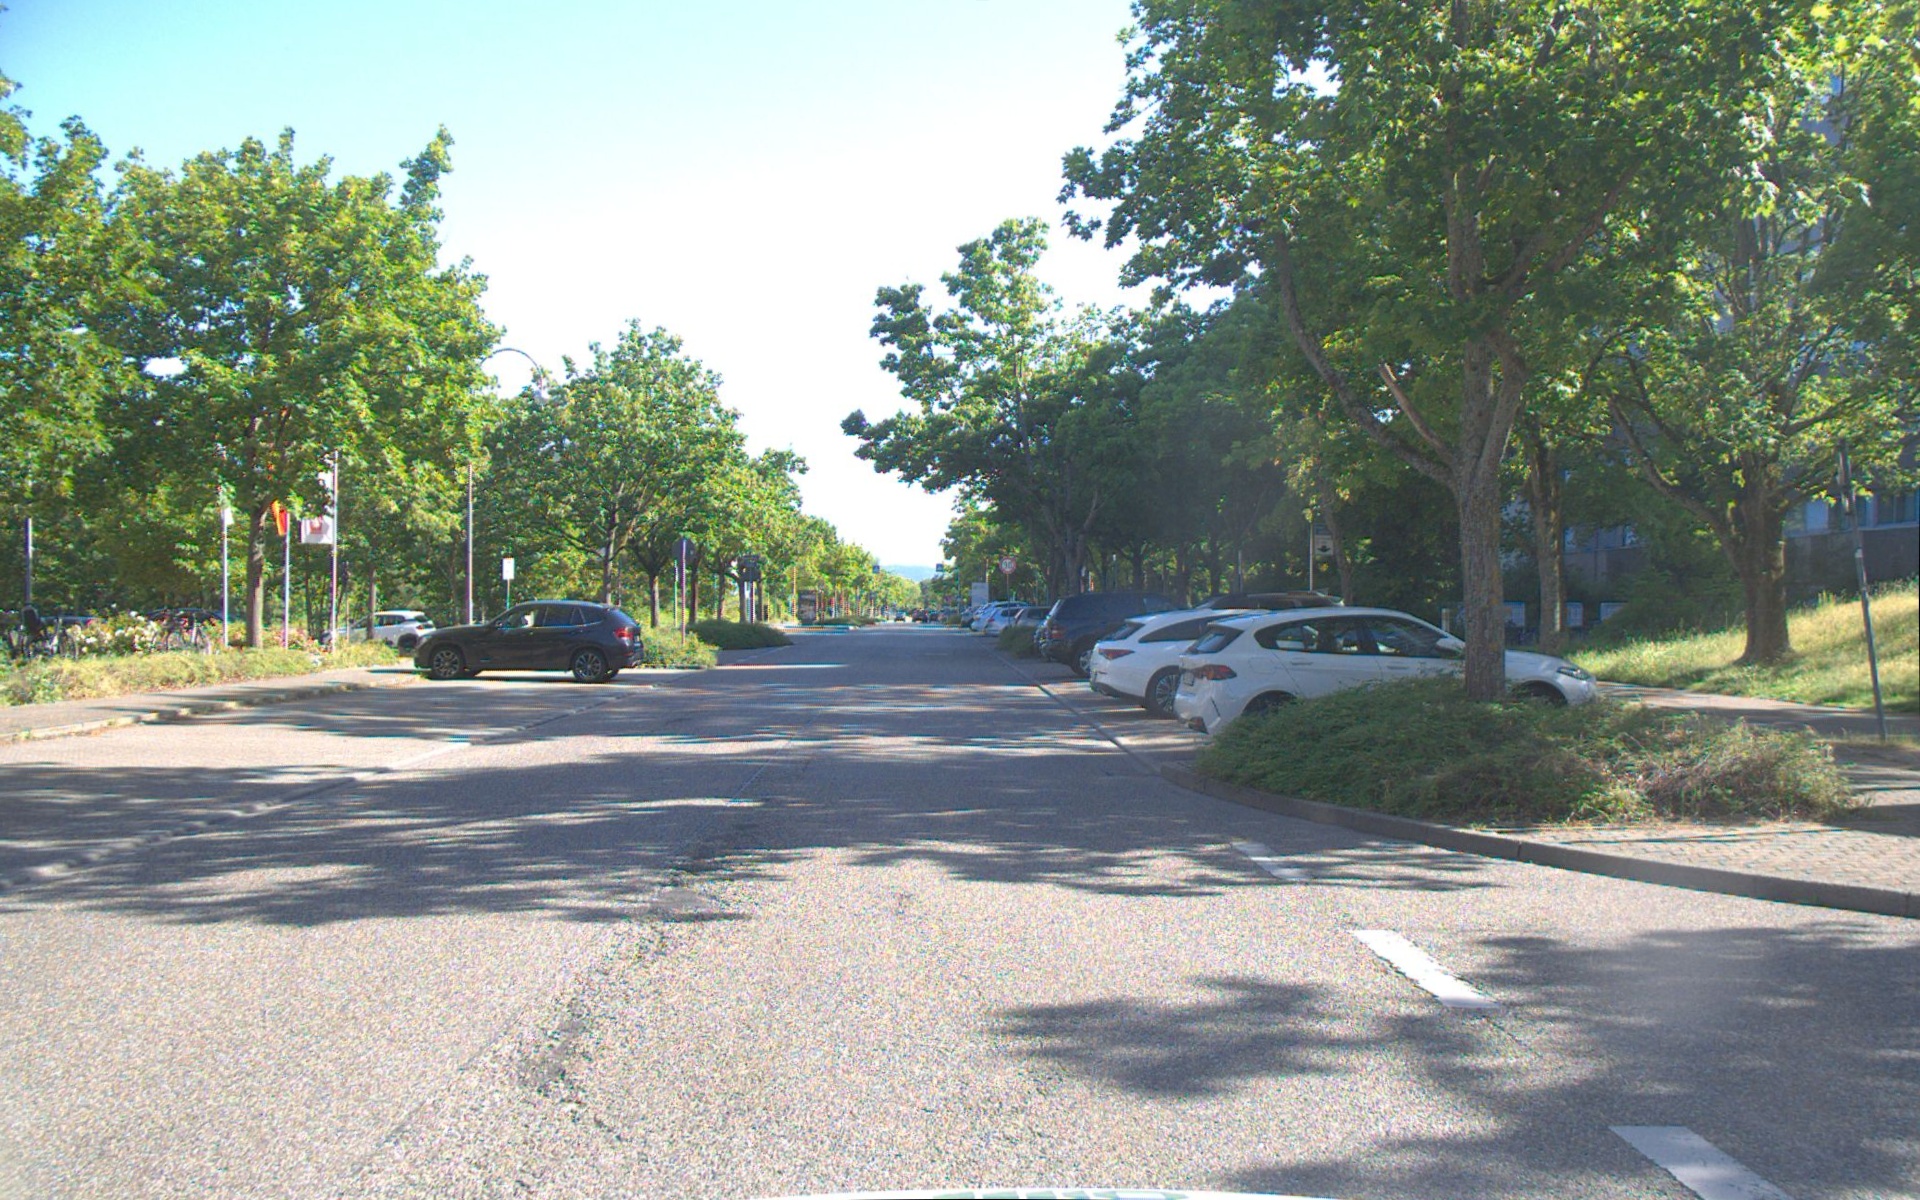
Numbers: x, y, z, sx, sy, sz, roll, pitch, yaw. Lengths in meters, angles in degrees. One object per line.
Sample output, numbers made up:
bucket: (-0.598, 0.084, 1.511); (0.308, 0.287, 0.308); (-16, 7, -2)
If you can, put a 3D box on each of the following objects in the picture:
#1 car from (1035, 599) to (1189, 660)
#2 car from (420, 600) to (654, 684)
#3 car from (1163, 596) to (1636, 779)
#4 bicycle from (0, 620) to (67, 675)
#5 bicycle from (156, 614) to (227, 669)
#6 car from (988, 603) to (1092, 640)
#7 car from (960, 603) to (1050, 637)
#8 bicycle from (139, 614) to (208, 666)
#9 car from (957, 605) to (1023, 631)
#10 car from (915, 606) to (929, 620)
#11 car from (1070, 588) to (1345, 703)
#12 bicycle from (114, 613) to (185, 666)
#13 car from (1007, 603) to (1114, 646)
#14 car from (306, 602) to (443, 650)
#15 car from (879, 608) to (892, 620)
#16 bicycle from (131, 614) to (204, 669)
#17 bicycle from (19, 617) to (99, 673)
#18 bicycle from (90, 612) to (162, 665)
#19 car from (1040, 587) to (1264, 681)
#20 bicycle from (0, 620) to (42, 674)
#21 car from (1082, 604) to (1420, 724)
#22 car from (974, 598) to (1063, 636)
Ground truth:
car: (4.049, 0.785, 44.478); (3.906, 1.411, 1.822); (-3, 0, -2)
car: (-8.243, 0.802, 32.498); (4.107, 1.547, 1.771); (1, -1, -1)
car: (4.440, 0.853, 17.107); (4.340, 1.620, 1.835); (-2, 0, -4)
bicycle: (-18.938, 0.942, 33.588); (0.428, 1.066, 2.192); (1, 0, -1)
bicycle: (-15.526, 0.826, 33.470); (0.428, 1.066, 2.192); (1, 0, -1)
car: (3.266, 0.885, 67.698); (4.185, 1.453, 1.828); (0, -1, 3)
car: (2.199, 0.980, 81.570); (4.256, 1.515, 1.737); (-2, 0, -3)
bicycle: (-16.599, 0.833, 34.951); (0.428, 1.066, 2.192); (1, 0, -1)
car: (1.903, 1.169, 105.929); (4.080, 1.453, 1.999); (-3, 0, -2)
car: (-5.559, 1.905, 240.962); (1.953, 2.049, 3.999); (1, 0, -1)
car: (3.876, 0.712, 26.336); (4.036, 1.646, 1.732); (-2, -1, -4)
bicycle: (-17.108, 0.814, 34.947); (0.428, 1.066, 2.192); (1, 0, -1)
car: (3.806, 0.926, 62.903); (3.906, 1.476, 1.717); (-2, 0, -1)
car: (-19.728, 0.871, 55.789); (3.994, 1.476, 1.625); (-2, -1, 0)
car: (-11.753, 2.246, 260.931); (1.953, 1.833, 3.999); (1, 0, -1)
bicycle: (-15.999, 0.820, 33.449); (0.428, 1.066, 2.192); (1, 0, -1)
bicycle: (-18.129, 0.888, 33.337); (0.428, 1.066, 2.192); (1, 0, -1)
bicycle: (-17.592, 0.798, 34.952); (0.428, 1.066, 2.192); (1, 0, -1)
car: (4.030, 0.708, 35.292); (4.494, 1.810, 1.999); (-2, -1, -1)
bicycle: (-19.464, 0.945, 33.575); (0.428, 1.066, 2.192); (1, 0, -1)
car: (4.008, 0.872, 23.181); (4.354, 1.572, 1.816); (1, -1, -4)
car: (2.954, 0.866, 84.291); (4.347, 1.676, 1.815); (-3, 0, -3)
